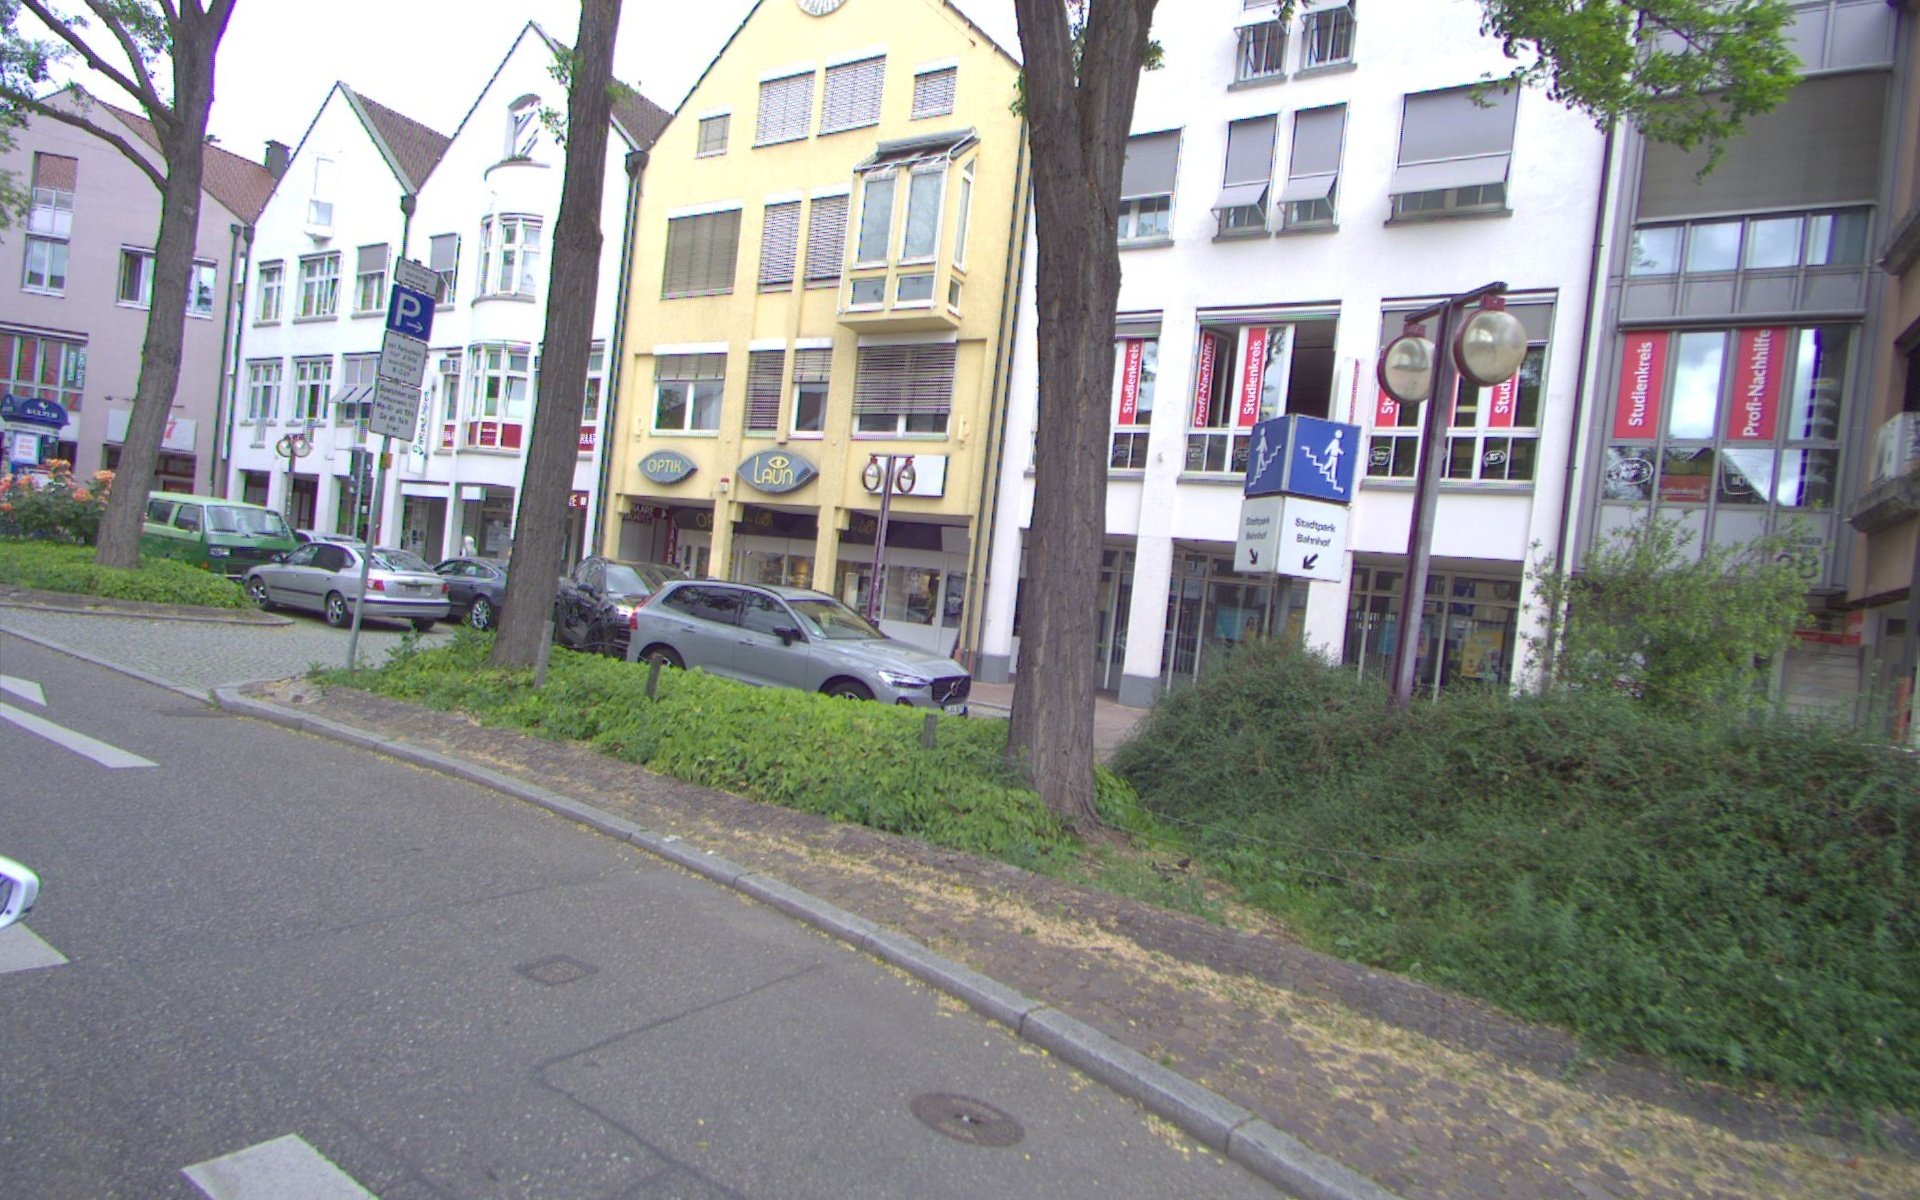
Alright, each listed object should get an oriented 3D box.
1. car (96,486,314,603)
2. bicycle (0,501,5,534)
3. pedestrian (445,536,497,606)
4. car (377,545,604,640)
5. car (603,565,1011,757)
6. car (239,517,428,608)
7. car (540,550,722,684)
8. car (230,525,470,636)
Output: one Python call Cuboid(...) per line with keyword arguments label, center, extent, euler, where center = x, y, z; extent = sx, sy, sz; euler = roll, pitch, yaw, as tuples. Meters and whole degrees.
Cuboid(label="car", center=(-15.604, -1.161, 20.747), extent=(4.527, 1.900, 1.882), euler=(7, 2, 30))
Cuboid(label="bicycle", center=(-30.380, -2.642, 30.541), extent=(0.460, 1.009, 1.902), euler=(7, 0, 35))
Cuboid(label="pedestrian", center=(-12.666, -0.744, 26.047), extent=(0.805, 1.681, 0.789), euler=(7, 3, 31))
Cuboid(label="car", center=(-9.650, -0.157, 20.606), extent=(4.344, 1.394, 1.999), euler=(7, 1, 30))
Cuboid(label="car", center=(-1.971, 0.665, 12.625), extent=(4.681, 1.615, 1.997), euler=(7, 0, 29))
Cuboid(label="car", center=(-14.445, -0.874, 23.144), extent=(4.319, 1.562, 1.798), euler=(7, 1, 30))
Cuboid(label="car", center=(-5.585, 0.178, 16.642), extent=(1.838, 1.692, 4.626), euler=(6, 1, -30))
Cuboid(label="car", center=(-11.114, -0.373, 18.266), extent=(4.344, 1.468, 1.765), euler=(7, 0, 30))
